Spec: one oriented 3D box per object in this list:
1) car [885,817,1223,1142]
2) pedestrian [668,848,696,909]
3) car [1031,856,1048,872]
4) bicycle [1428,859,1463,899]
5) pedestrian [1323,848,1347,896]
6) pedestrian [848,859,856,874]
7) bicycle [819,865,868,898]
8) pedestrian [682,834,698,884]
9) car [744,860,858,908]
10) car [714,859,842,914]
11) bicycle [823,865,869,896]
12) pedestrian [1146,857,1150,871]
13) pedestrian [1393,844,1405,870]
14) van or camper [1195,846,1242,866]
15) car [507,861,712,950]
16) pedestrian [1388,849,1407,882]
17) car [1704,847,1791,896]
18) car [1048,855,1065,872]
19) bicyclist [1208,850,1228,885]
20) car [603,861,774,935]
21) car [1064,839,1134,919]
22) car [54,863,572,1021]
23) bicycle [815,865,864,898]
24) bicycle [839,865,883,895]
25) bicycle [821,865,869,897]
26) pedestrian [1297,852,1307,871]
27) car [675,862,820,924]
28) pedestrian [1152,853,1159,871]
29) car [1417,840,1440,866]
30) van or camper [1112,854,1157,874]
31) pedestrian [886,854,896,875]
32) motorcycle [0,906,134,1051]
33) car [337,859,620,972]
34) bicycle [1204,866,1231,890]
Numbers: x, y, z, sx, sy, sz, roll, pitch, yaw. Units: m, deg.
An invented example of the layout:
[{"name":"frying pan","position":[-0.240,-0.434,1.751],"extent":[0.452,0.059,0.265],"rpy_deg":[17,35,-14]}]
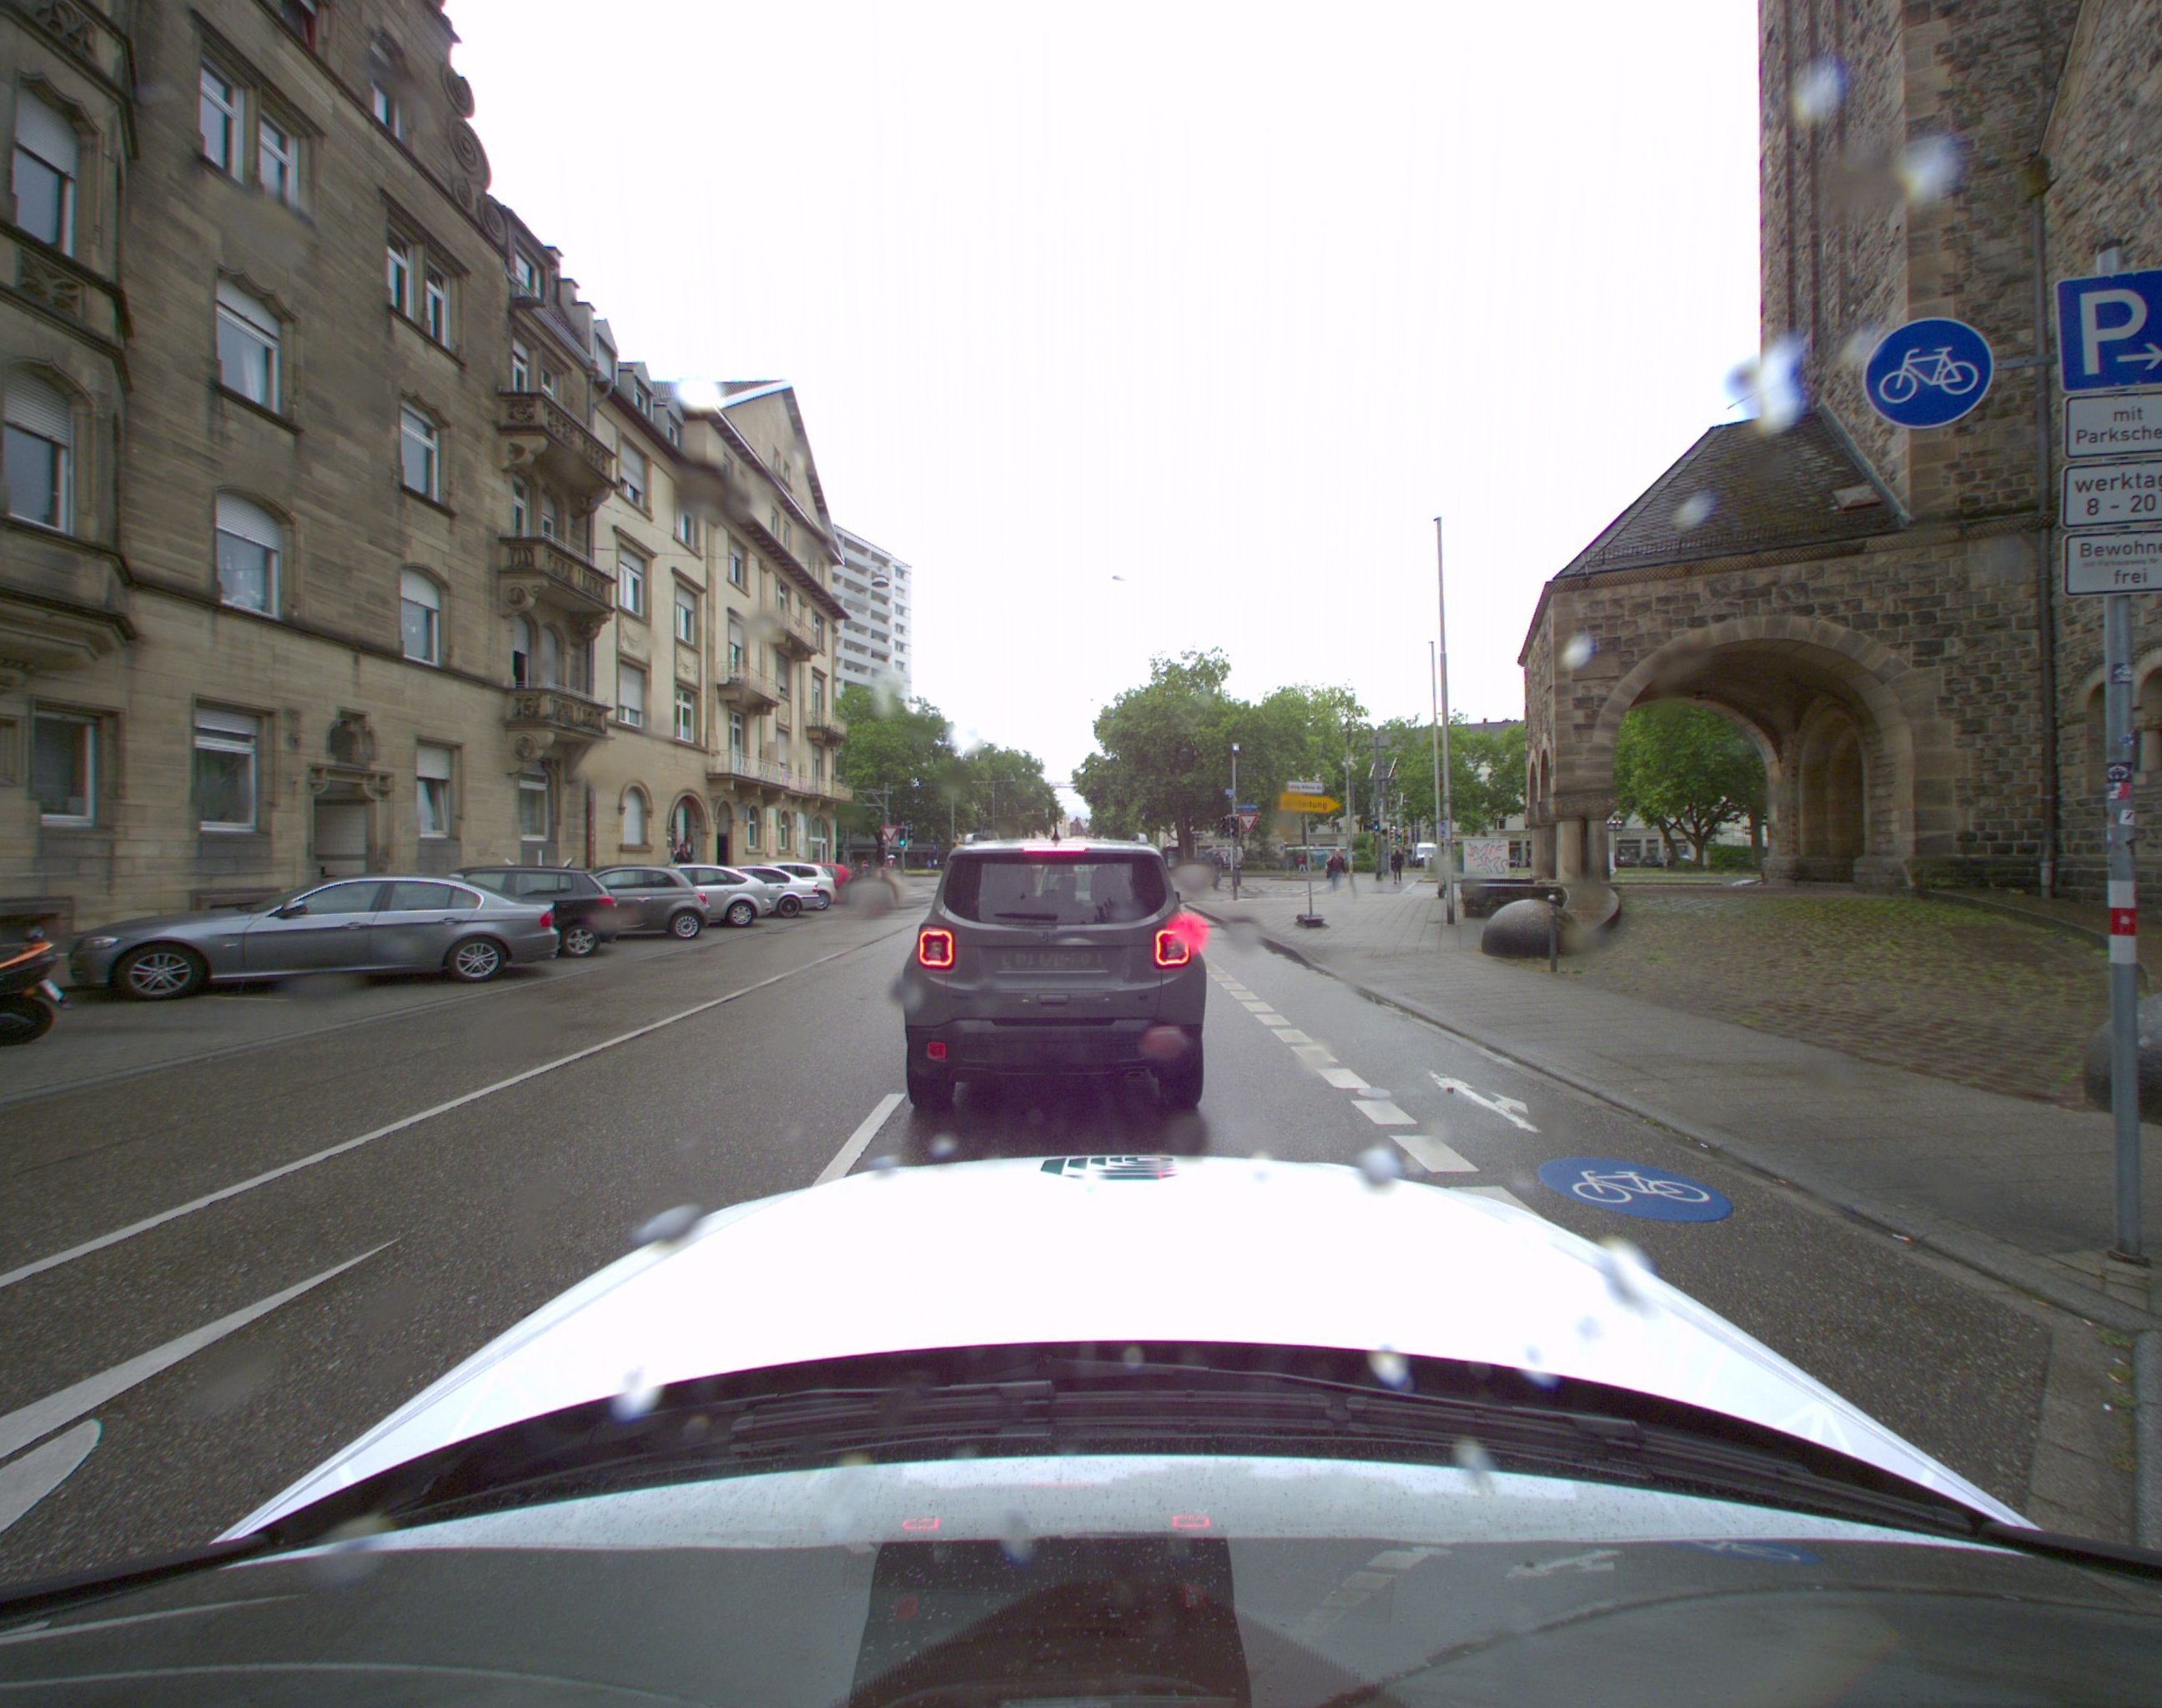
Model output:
[{"name":"car","position":[-0.119,0.675,6.296],"extent":[1.769,1.687,3.848],"rpy_deg":[-2,0,1]},{"name":"pedestrian","position":[-13.366,0.798,27.296],"extent":[0.565,2.014,0.655],"rpy_deg":[-1,-1,1]},{"name":"car","position":[-4.596,1.070,89.651],"extent":[1.810,1.670,3.916],"rpy_deg":[-1,0,-3]},{"name":"bicycle","position":[11.006,0.723,24.639],"extent":[0.327,1.154,2.079],"rpy_deg":[-1,0,7]},{"name":"pedestrian","position":[9.642,0.674,30.939],"extent":[0.780,1.759,0.949],"rpy_deg":[-2,-1,16]},{"name":"pedestrian","position":[-23.289,1.305,82.940],"extent":[0.438,1.530,0.647],"rpy_deg":[-1,-1,27]},{"name":"bicycle","position":[-9.596,1.096,32.868],"extent":[1.804,1.266,0.498],"rpy_deg":[-1,-1,-1]},{"name":"pedestrian","position":[-14.398,0.178,30.000],"extent":[0.365,1.823,0.347],"rpy_deg":[-1,-1,-1]},{"name":"car","position":[-9.766,1.002,28.491],"extent":[3.419,1.558,1.686],"rpy_deg":[-1,0,-38]},{"name":"car","position":[-9.509,0.962,25.616],"extent":[3.419,1.558,1.686],"rpy_deg":[-1,0,-38]},{"name":"bicycle","position":[-9.960,1.101,34.588],"extent":[1.758,1.266,0.608],"rpy_deg":[-1,-1,-1]},{"name":"pedestrian","position":[8.291,1.251,101.445],"extent":[0.456,1.704,0.424],"rpy_deg":[-1,-1,2]},{"name":"pedestrian","position":[25.471,0.249,65.147],"extent":[0.798,2.014,0.593],"rpy_deg":[-1,-1,28]},{"name":"van or camper","position":[15.984,0.254,94.591],"extent":[5.234,2.315,2.093],"rpy_deg":[0,0,5]},{"name":"car","position":[-9.536,0.958,16.541],"extent":[3.419,1.558,1.634],"rpy_deg":[-1,0,-38]},{"name":"pedestrian","position":[15.860,0.560,40.804],"extent":[0.775,1.645,0.659],"rpy_deg":[-2,-1,25]},{"name":"car","position":[21.453,0.548,26.322],"extent":[1.389,1.479,3.239],"rpy_deg":[-1,0,25]},{"name":"car","position":[-2.595,0.982,84.544],"extent":[1.717,1.739,3.726],"rpy_deg":[-1,0,-2]},{"name":"bicyclist","position":[6.476,0.621,38.446],"extent":[0.681,1.617,0.888],"rpy_deg":[-2,0,21]},{"name":"car","position":[-9.388,0.984,19.568],"extent":[3.419,1.558,1.686],"rpy_deg":[-1,0,-38]},{"name":"car","position":[0.497,0.637,22.791],"extent":[1.764,2.013,4.001],"rpy_deg":[-1,0,1]},{"name":"car","position":[-9.408,0.929,10.527],"extent":[4.573,1.545,1.668],"rpy_deg":[-1,0,-42]},{"name":"bicycle","position":[-9.593,1.102,32.321],"extent":[1.758,1.266,0.522],"rpy_deg":[-1,-1,-1]},{"name":"bicycle","position":[-9.568,1.142,35.460],"extent":[1.758,1.266,0.608],"rpy_deg":[-1,-1,-1]},{"name":"bicycle","position":[-9.706,1.109,33.554],"extent":[1.804,1.266,0.498],"rpy_deg":[-1,-1,-1]},{"name":"pedestrian","position":[18.590,0.620,68.511],"extent":[0.667,1.554,0.766],"rpy_deg":[-1,-2,29]},{"name":"car","position":[-9.283,1.019,22.751],"extent":[3.419,1.558,1.686],"rpy_deg":[-1,0,-38]},{"name":"pedestrian","position":[8.459,0.893,92.675],"extent":[0.646,2.014,0.484],"rpy_deg":[-1,-1,14]},{"name":"car","position":[35.504,-0.134,83.192],"extent":[1.889,2.555,4.815],"rpy_deg":[-1,0,25]},{"name":"van or camper","position":[8.201,1.489,124.747],"extent":[6.466,2.912,2.509],"rpy_deg":[-1,0,26]},{"name":"pedestrian","position":[-16.996,0.933,72.767],"extent":[0.614,1.826,0.697],"rpy_deg":[-1,-1,15]},{"name":"motorcycle","position":[-9.405,1.032,6.751],"extent":[1.880,1.162,0.627],"rpy_deg":[2,-2,-36]},{"name":"car","position":[-9.778,0.900,13.457],"extent":[3.571,1.598,1.587],"rpy_deg":[-1,0,-38]},{"name":"bicycle","position":[6.480,1.099,38.419],"extent":[0.686,1.021,2.672],"rpy_deg":[-2,0,21]}]
